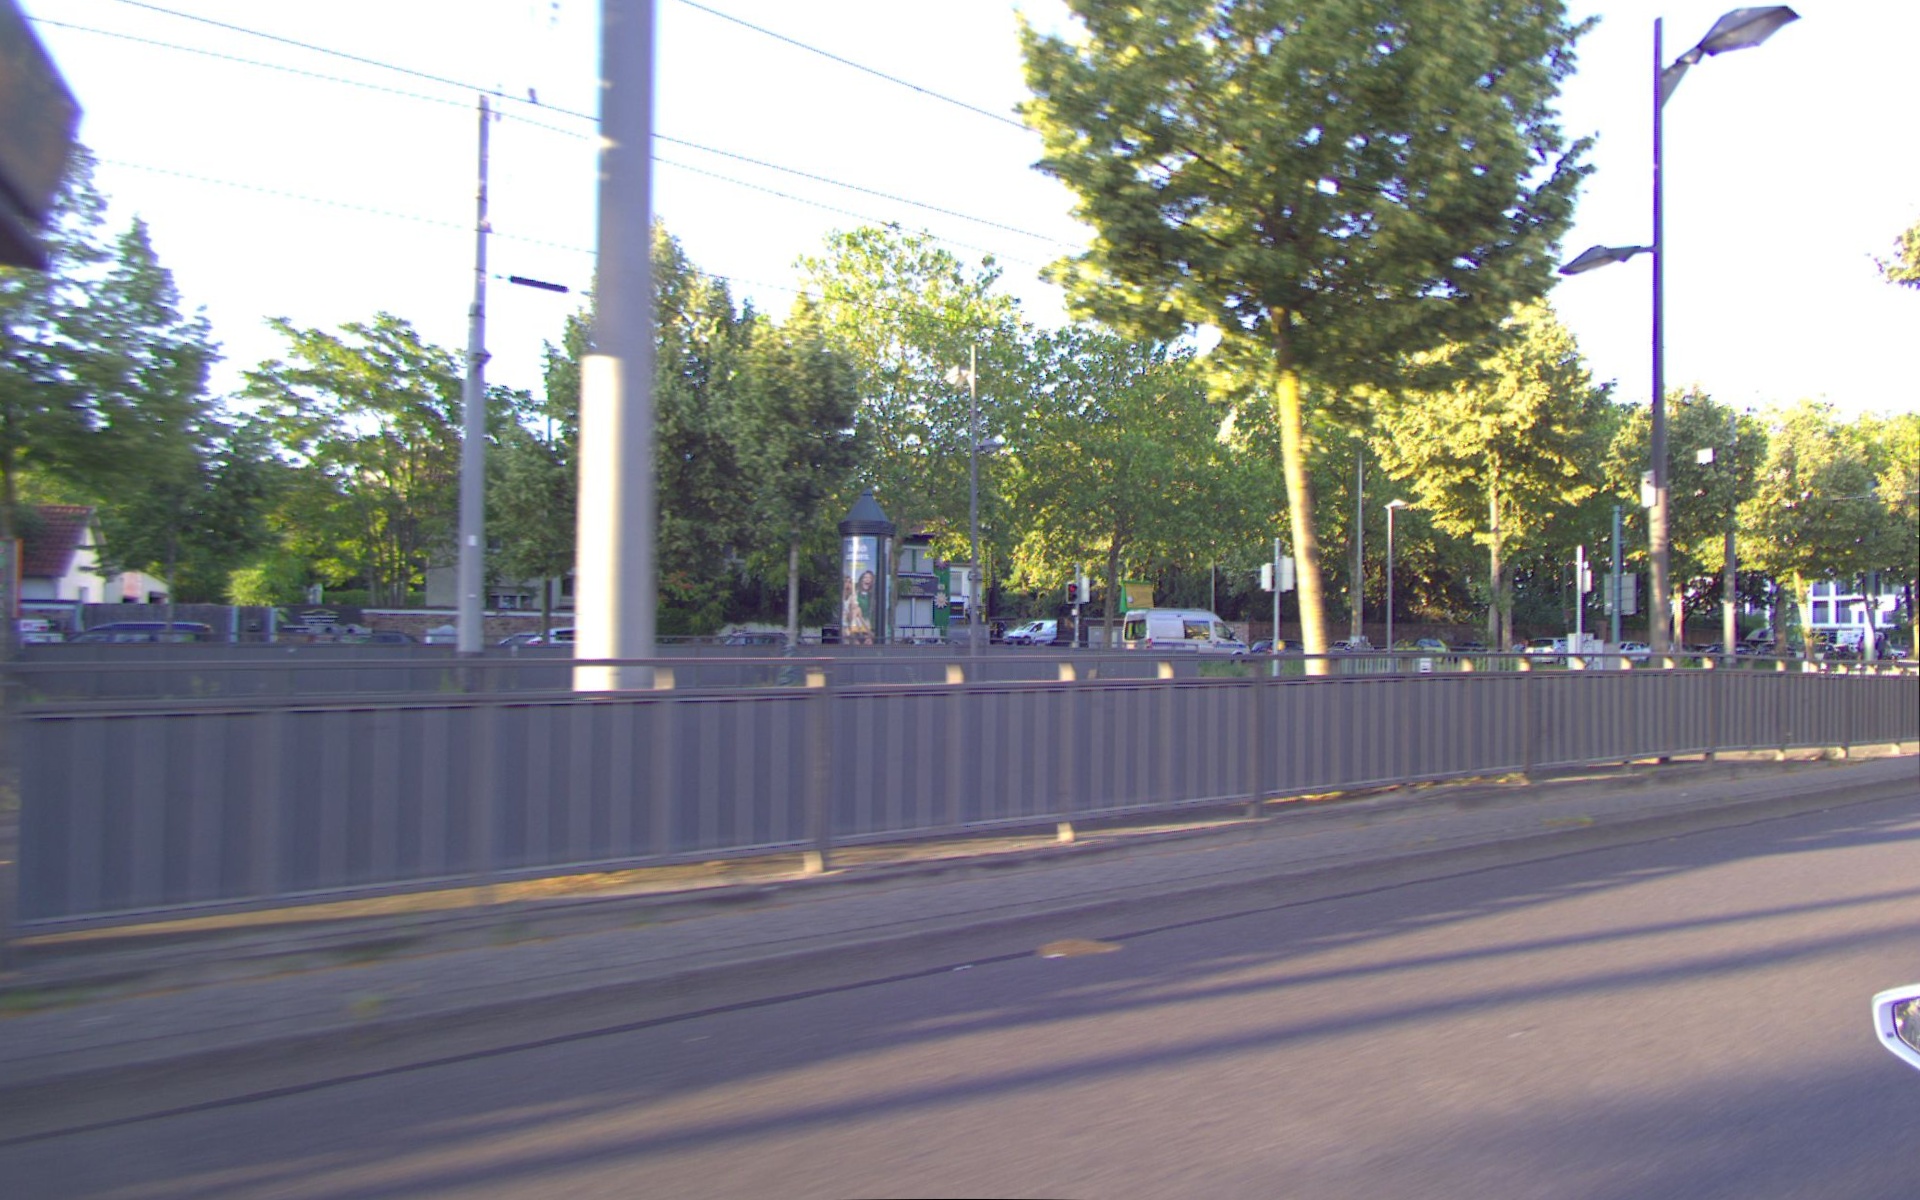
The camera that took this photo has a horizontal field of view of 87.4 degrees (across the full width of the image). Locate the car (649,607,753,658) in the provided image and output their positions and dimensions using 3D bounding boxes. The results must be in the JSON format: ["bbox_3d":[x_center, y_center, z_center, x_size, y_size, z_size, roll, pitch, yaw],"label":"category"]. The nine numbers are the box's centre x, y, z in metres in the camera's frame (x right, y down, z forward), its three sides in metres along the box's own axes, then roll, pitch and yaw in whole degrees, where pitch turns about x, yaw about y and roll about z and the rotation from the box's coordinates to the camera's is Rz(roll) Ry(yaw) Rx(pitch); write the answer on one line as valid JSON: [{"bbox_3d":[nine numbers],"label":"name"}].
[{"bbox_3d":[-10.904,1.375,42.318,3.947,2.040,1.987,1,-1,-26],"label":"car"}]

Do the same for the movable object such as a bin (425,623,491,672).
[{"bbox_3d":[-14.964,1.401,29.931,1.703,1.390,1.546,1,-1,-28],"label":"movable object such as a bin"}]

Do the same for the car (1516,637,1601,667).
[{"bbox_3d":[31.893,2.740,53.508,4.502,1.518,1.985,2,-2,-29],"label":"car"}]

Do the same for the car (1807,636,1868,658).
[{"bbox_3d":[63.473,3.409,72.665,3.949,1.505,1.986,2,-2,-27],"label":"car"}]

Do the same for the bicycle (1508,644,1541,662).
[{"bbox_3d":[34.751,3.242,61.829,1.988,1.105,0.729,1,-2,-25],"label":"bicycle"}]

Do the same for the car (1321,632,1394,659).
[{"bbox_3d":[23.608,2.689,59.627,3.997,1.511,1.854,1,-2,-27],"label":"car"}]

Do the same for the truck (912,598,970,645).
[{"bbox_3d":[-1.551,1.731,79.239,2.258,3.566,6.656,1,-2,-23],"label":"truck"}]

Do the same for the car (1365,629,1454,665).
[{"bbox_3d":[21.677,2.236,48.410,3.952,1.661,1.985,1,-2,-30],"label":"car"}]

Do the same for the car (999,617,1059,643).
[{"bbox_3d":[4.994,2.173,72.726,3.953,1.773,1.984,1,-1,-30],"label":"car"}]

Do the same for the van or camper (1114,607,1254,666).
[{"bbox_3d":[9.591,1.557,42.958,5.705,2.396,2.277,1,-1,-26],"label":"van or camper"}]

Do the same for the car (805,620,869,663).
[{"bbox_3d":[-6.256,2.056,50.802,1.974,2.040,3.972,1,-1,-27],"label":"car"}]

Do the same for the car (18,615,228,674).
[{"bbox_3d":[-22.225,1.180,26.902,3.951,1.467,1.985,1,-1,-29],"label":"car"}]

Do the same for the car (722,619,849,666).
[{"bbox_3d":[-6.044,1.445,34.856,4.003,1.551,1.802,1,-1,-29],"label":"car"}]

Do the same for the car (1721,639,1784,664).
[{"bbox_3d":[51.710,3.378,65.547,3.787,1.581,1.797,2,-2,-26],"label":"car"}]

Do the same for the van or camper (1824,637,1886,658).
[{"bbox_3d":[81.094,4.293,91.041,1.983,1.815,3.955,2,-2,-39],"label":"van or camper"}]

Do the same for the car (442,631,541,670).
[{"bbox_3d":[-18.123,1.932,38.892,3.362,1.449,1.640,1,-2,-27],"label":"car"}]

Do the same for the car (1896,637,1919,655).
[{"bbox_3d":[94.888,4.538,98.664,1.901,1.661,3.965,1,-2,-33],"label":"car"}]

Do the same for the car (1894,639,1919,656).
[{"bbox_3d":[93.031,4.606,96.882,1.901,1.661,3.965,1,-2,-33],"label":"car"}]

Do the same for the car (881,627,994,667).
[{"bbox_3d":[-0.900,1.860,39.908,4.048,1.520,1.985,2,-2,-29],"label":"car"}]

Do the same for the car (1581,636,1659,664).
[{"bbox_3d":[36.912,2.794,56.162,4.255,1.519,1.891,2,-2,-29],"label":"car"}]

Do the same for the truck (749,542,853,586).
[{"bbox_3d":[-7.118,-1.589,44.996,4.237,1.712,1.987,1,-2,-27],"label":"truck"}]

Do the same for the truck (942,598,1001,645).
[{"bbox_3d":[0.844,1.732,80.248,2.258,3.566,6.656,1,-2,-23],"label":"truck"}]

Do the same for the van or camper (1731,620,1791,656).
[{"bbox_3d":[64.054,3.028,80.324,5.433,2.771,2.074,2,-2,-32],"label":"van or camper"}]

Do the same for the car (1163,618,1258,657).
[{"bbox_3d":[13.753,2.036,55.054,4.993,2.040,1.987,1,-1,-27],"label":"car"}]

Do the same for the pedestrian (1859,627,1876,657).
[{"bbox_3d":[59.243,2.746,65.581,0.858,1.895,0.688,2,-2,-37],"label":"pedestrian"}]

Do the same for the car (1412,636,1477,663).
[{"bbox_3d":[30.332,3.094,62.900,3.788,1.617,1.760,1,-2,-27],"label":"car"}]

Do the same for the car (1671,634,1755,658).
[{"bbox_3d":[44.964,2.760,59.963,5.075,1.332,1.987,2,-2,-26],"label":"car"}]

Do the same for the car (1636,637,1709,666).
[{"bbox_3d":[44.423,3.207,62.637,4.103,1.773,1.988,2,-2,-25],"label":"car"}]

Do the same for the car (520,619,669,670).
[{"bbox_3d":[-11.660,1.391,32.091,4.246,1.520,1.985,1,-1,-29],"label":"car"}]

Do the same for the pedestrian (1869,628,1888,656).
[{"bbox_3d":[59.174,2.682,64.690,0.856,1.766,0.689,2,-2,-32],"label":"pedestrian"}]

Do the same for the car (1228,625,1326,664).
[{"bbox_3d":[14.243,1.986,45.133,4.162,1.658,1.983,2,-2,-32],"label":"car"}]

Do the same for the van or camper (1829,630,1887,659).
[{"bbox_3d":[99.461,4.895,111.287,6.180,3.126,2.701,1,-1,-26],"label":"van or camper"}]

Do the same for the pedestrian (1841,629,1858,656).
[{"bbox_3d":[58.594,2.810,66.157,0.858,1.782,0.688,2,-2,-37],"label":"pedestrian"}]

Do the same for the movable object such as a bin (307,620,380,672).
[{"bbox_3d":[-17.560,1.290,28.669,1.680,1.430,1.403,1,-1,-28],"label":"movable object such as a bin"}]

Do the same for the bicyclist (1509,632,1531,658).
[{"bbox_3d":[34.396,2.775,61.680,1.070,1.553,0.726,1,-1,-24],"label":"bicyclist"}]
